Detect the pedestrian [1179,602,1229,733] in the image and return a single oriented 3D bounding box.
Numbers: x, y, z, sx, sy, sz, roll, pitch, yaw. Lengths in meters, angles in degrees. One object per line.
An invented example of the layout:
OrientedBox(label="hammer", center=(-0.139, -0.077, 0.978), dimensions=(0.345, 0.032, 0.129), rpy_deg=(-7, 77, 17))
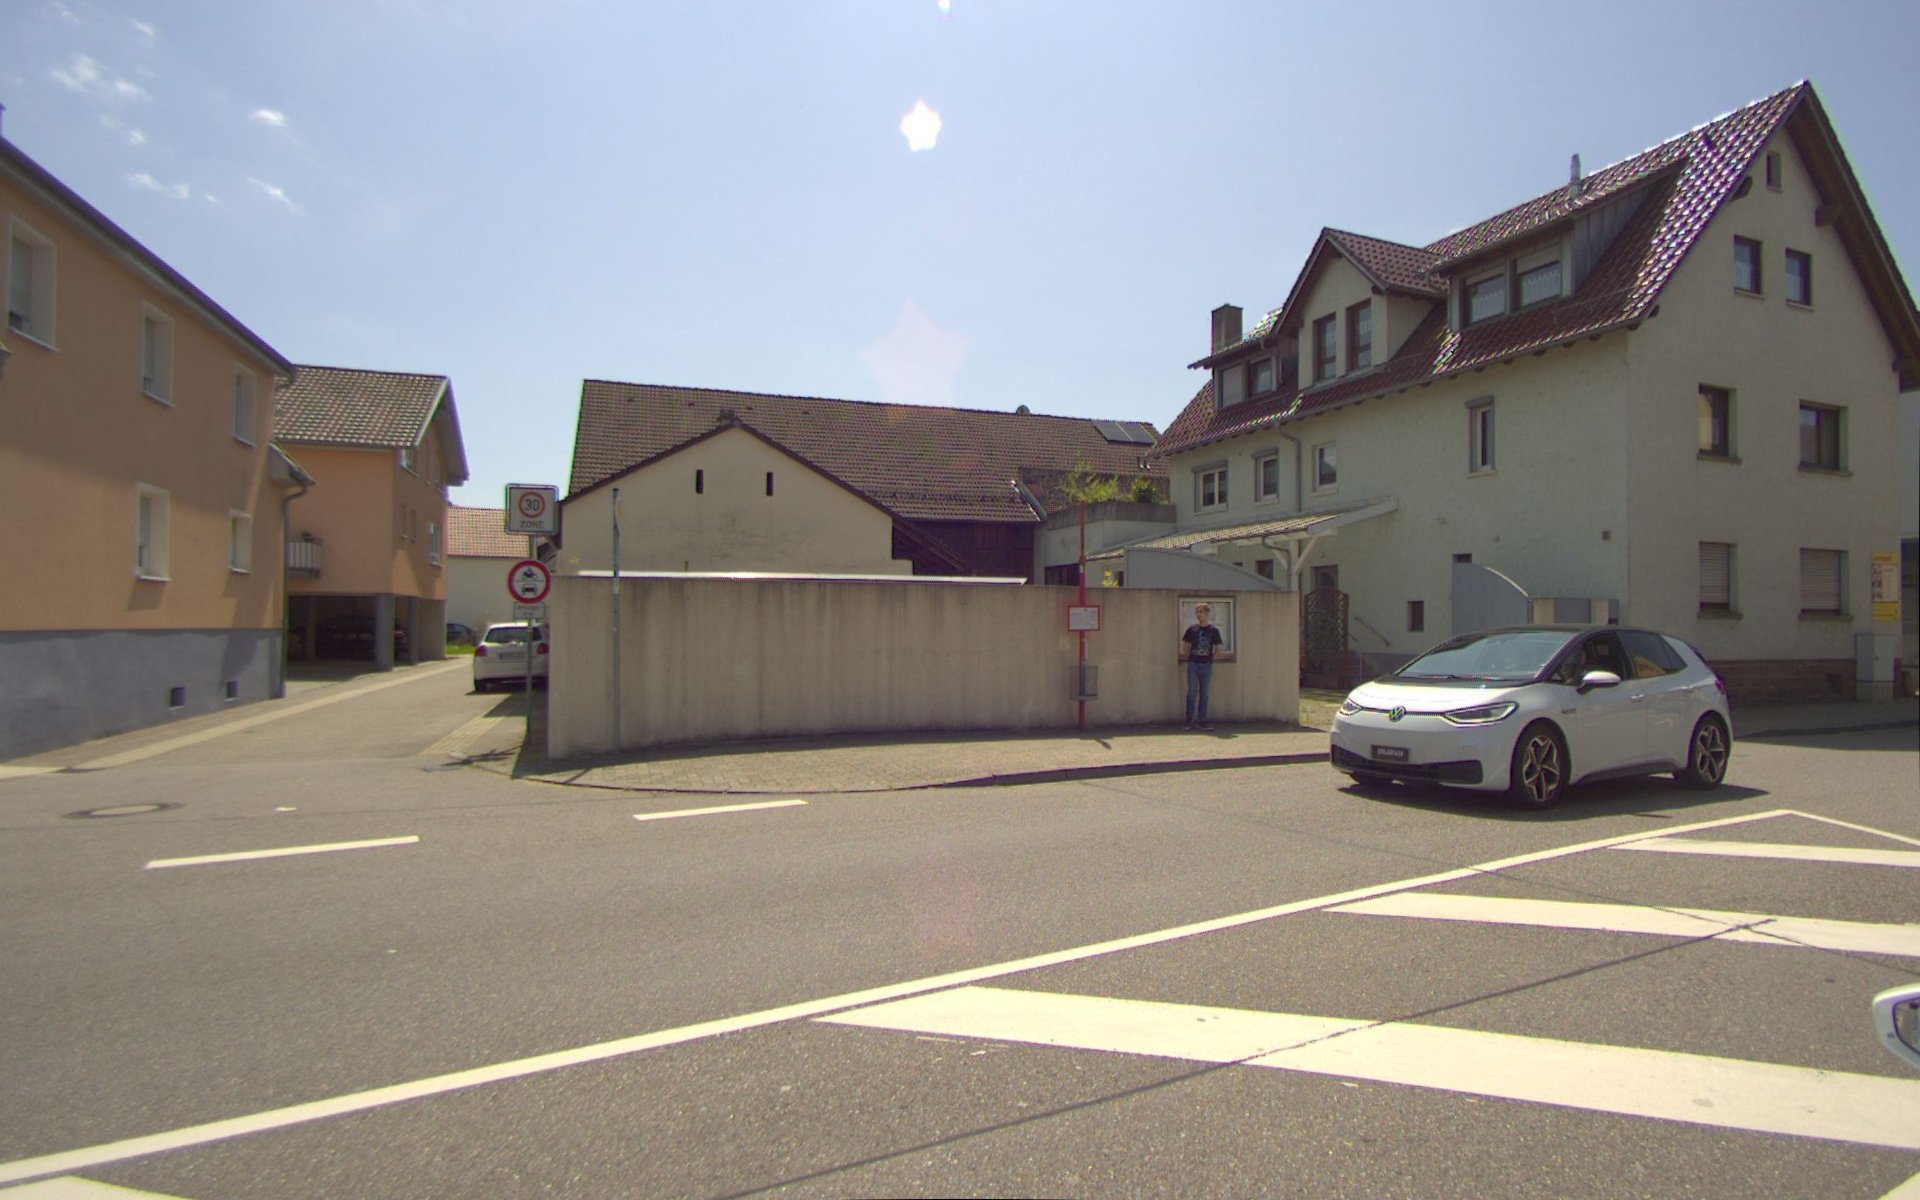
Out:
OrientedBox(label="pedestrian", center=(3.409, 0.934, 14.068), dimensions=(0.547, 1.788, 0.434), rpy_deg=(0, -1, -11))

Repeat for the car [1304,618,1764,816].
OrientedBox(label="car", center=(5.422, 0.994, 9.463), dimensions=(4.079, 1.527, 1.790), rpy_deg=(2, -3, -26))

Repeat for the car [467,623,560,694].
OrientedBox(label="car", center=(-10.618, 1.329, 24.135), dimensions=(1.782, 1.483, 3.981), rpy_deg=(-1, 0, -21))

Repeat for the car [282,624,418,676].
OrientedBox(label="car", center=(-22.494, 1.864, 37.212), dimensions=(3.940, 1.862, 1.991), rpy_deg=(1, -3, -21))
